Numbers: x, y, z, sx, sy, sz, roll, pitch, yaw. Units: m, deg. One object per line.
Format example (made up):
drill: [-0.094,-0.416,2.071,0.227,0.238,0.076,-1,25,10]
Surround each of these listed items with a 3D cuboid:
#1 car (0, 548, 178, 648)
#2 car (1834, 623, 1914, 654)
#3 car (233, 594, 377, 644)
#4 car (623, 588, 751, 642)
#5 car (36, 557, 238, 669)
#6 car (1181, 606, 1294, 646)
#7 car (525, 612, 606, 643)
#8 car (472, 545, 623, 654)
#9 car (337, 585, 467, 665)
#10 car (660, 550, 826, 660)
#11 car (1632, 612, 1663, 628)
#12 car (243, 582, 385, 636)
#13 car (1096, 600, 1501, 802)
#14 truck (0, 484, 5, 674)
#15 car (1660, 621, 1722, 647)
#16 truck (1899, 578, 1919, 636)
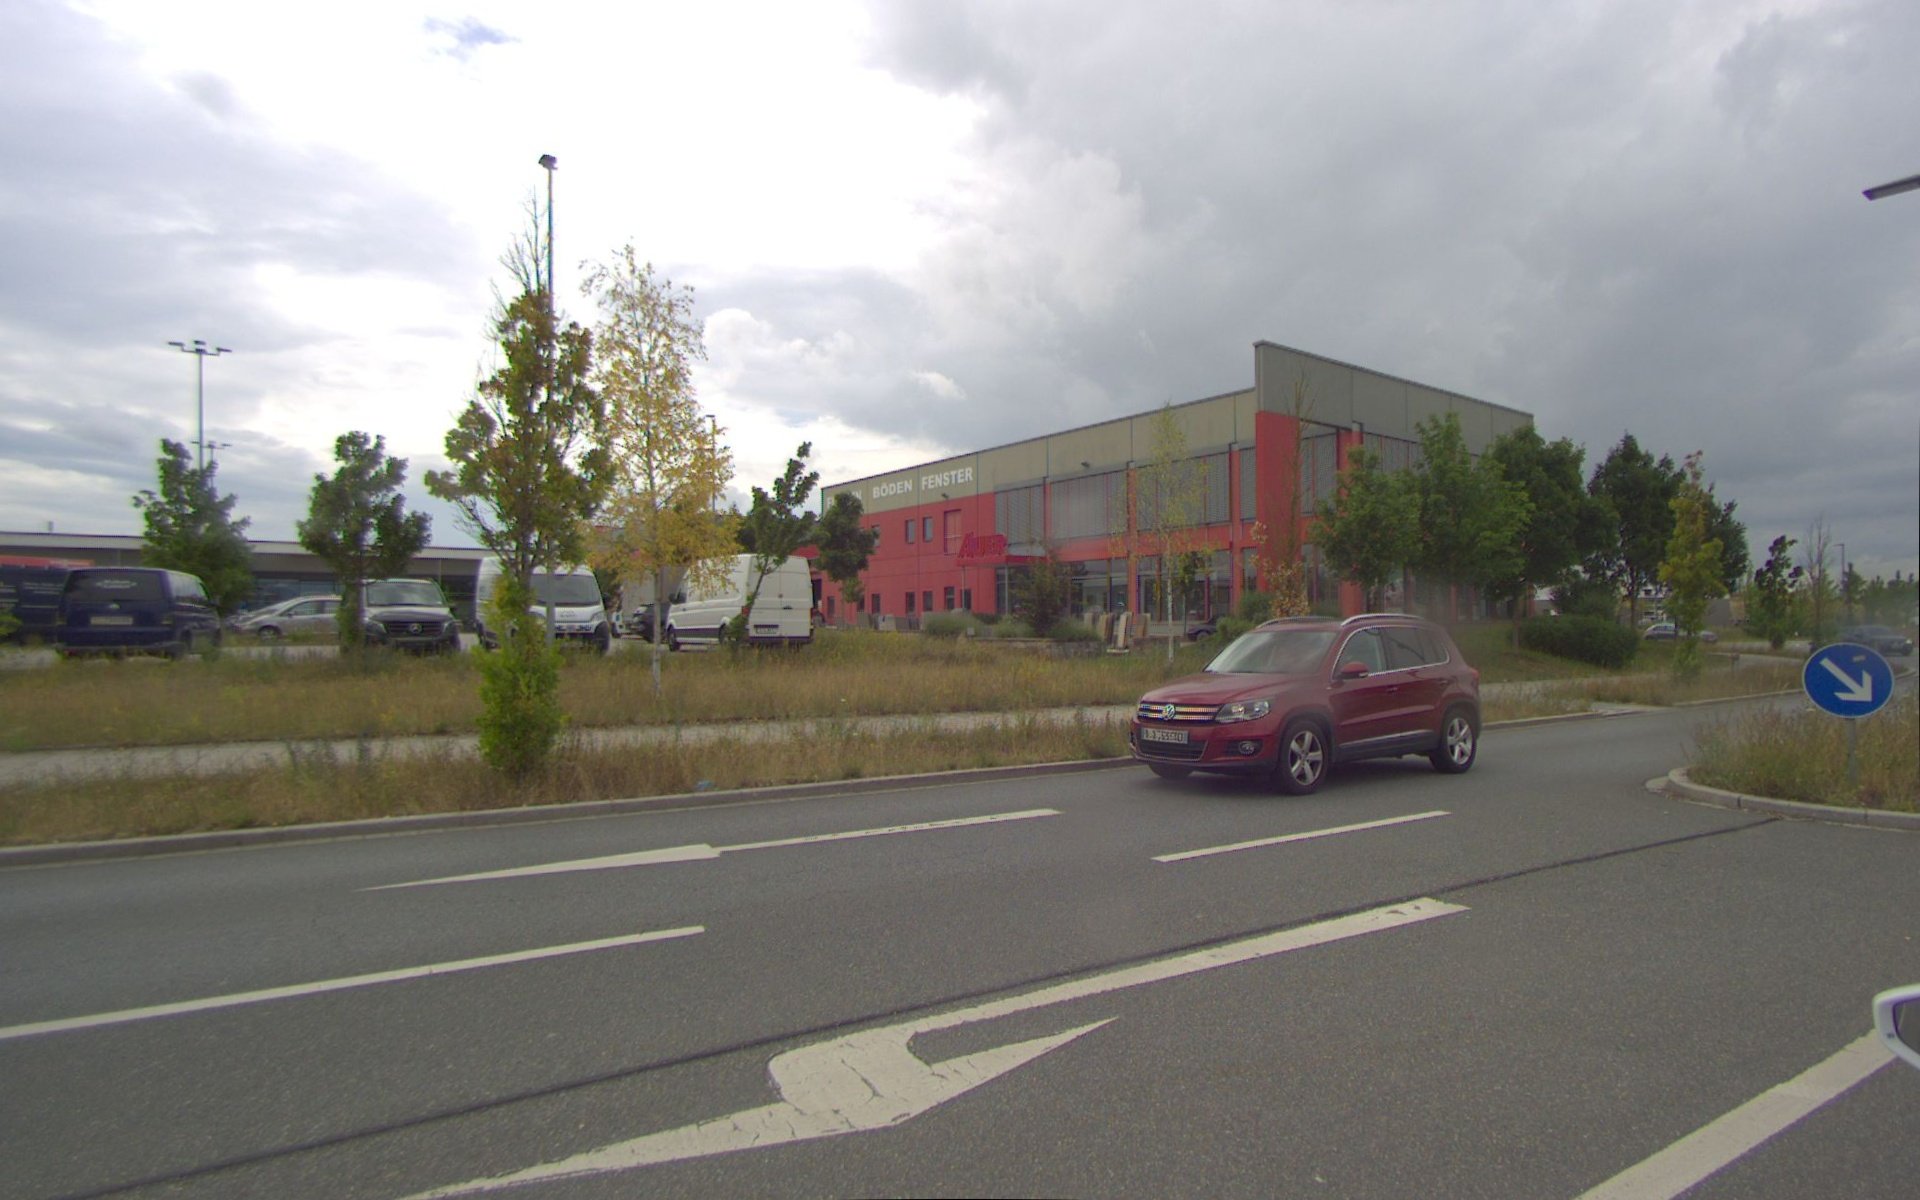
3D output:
car: [-25.983,-0.022,29.147,5.107,2.726,2.040,1,-2,-42]
car: [45.489,1.945,50.106,1.813,1.425,3.997,-2,-3,26]
car: [-22.332,0.671,34.327,3.968,1.623,1.654,2,-2,-41]
car: [-11.001,0.637,40.591,4.596,2.060,1.979,1,-2,-37]
car: [-16.751,0.305,20.771,2.151,2.016,4.885,1,-1,-27]
car: [11.551,1.074,41.835,4.303,1.572,1.999,0,-1,23]
car: [-22.341,1.547,56.931,3.961,1.673,1.980,1,-2,-36]
car: [-10.267,0.054,24.666,2.188,2.337,6.029,1,-1,-35]
car: [-12.878,0.570,23.039,1.976,1.638,4.867,1,-2,-37]
car: [-6.071,0.188,27.330,2.220,2.633,6.369,1,-1,-34]
car: [82.873,2.438,121.115,3.963,1.884,1.979,1,-1,-37]
car: [-23.974,0.373,37.362,4.233,1.874,1.977,2,-2,-41]
car: [3.602,0.943,10.409,4.284,1.691,1.787,1,-4,-36]
truck: [-22.316,-0.436,17.777,8.260,3.588,2.860,0,-1,2]
car: [46.411,2.144,63.863,2.024,1.613,4.204,-2,-2,20]
truck: [69.475,0.442,67.333,9.188,3.958,3.131,-1,-2,38]
